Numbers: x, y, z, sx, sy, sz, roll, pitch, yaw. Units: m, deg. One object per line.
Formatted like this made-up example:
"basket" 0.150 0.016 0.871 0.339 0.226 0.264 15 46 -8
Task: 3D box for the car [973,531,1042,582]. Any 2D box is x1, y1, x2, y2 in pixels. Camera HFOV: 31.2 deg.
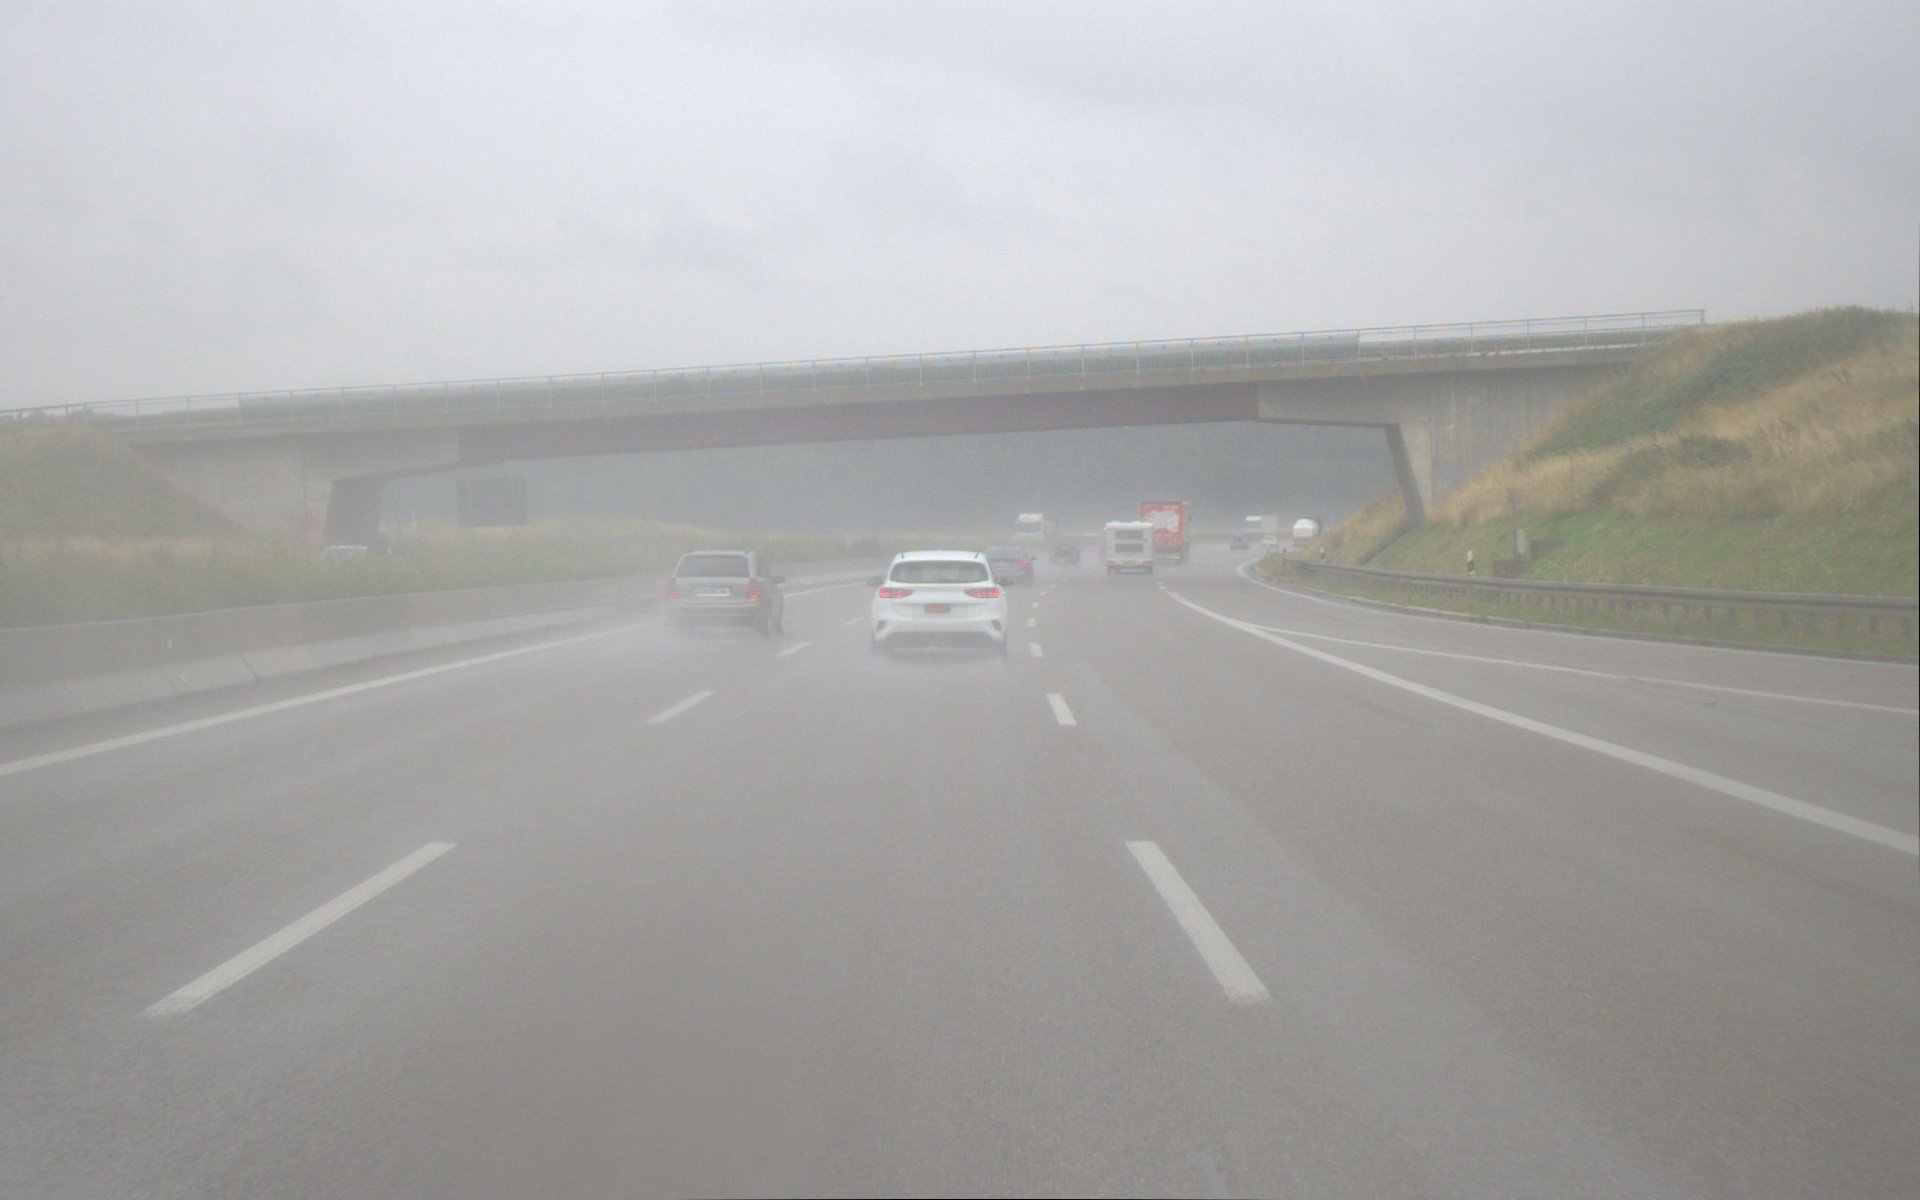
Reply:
"car" 1.570 -1.435 112.034 1.994 1.612 4.000 0 1 4

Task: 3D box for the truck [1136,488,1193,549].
"truck" 13.022 -5.241 218.595 3.527 3.730 11.425 1 2 4

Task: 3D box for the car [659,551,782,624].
"car" -3.948 -0.204 57.113 1.823 1.152 4.213 1 0 -1

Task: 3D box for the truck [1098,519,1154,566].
"truck" 8.039 -2.786 165.965 2.408 2.244 4.692 0 1 6

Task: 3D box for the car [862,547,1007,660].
"car" -0.342 0.025 46.505 1.867 1.458 4.000 0 0 0
